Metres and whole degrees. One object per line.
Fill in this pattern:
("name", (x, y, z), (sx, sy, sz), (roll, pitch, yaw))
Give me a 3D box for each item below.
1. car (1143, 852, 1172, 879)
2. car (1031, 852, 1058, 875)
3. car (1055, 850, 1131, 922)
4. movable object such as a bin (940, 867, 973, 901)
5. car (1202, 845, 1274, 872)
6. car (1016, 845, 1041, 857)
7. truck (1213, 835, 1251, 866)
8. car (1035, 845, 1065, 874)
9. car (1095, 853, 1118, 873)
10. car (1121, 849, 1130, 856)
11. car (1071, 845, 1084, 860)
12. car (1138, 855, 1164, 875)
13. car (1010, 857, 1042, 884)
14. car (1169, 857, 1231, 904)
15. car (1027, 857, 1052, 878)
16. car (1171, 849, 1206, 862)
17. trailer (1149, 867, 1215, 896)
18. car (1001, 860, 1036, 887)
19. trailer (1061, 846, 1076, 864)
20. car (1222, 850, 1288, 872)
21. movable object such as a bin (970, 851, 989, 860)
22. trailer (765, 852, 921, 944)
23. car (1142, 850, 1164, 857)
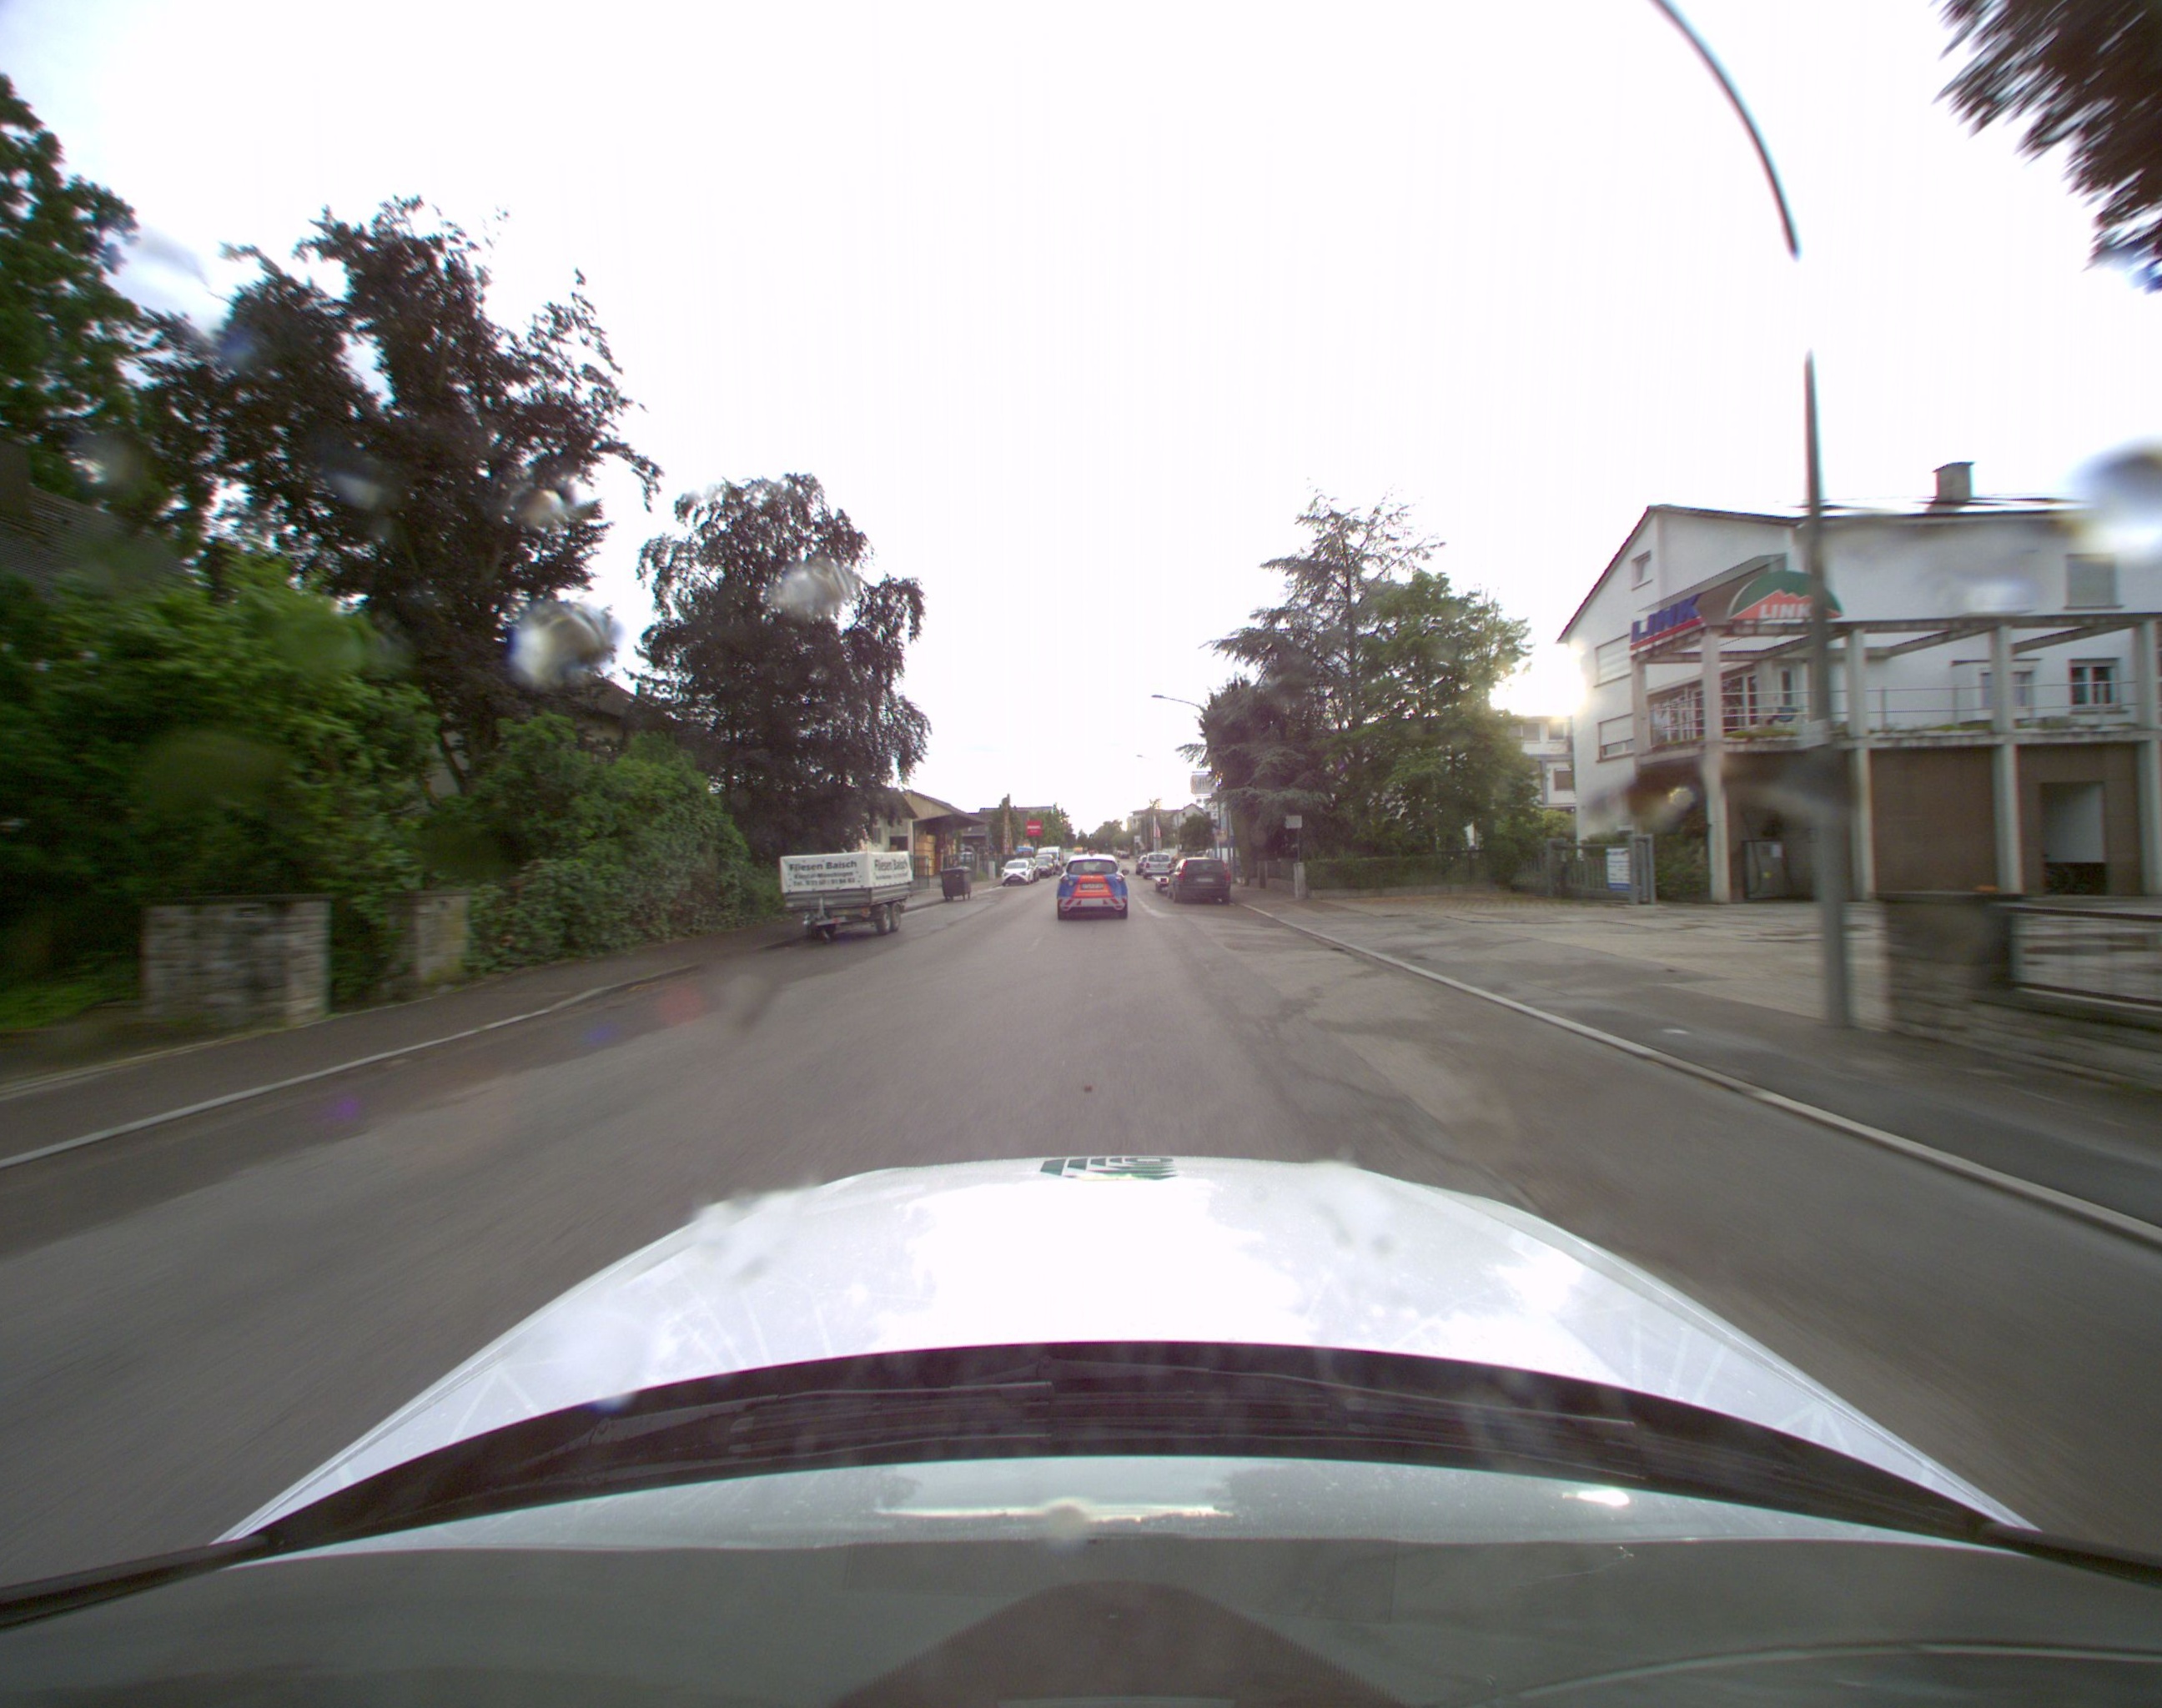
("car", (4.845, 0.716, 51.999), (1.731, 1.621, 4.377), (0, 0, 4))
("car", (-3.087, 0.824, 69.915), (1.763, 1.768, 4.448), (-5, 0, 2))
("car", (0.313, 0.748, 20.817), (1.725, 1.630, 3.495), (-2, 0, 1))
("movable object such as a bin", (-5.003, 1.178, 32.812), (1.097, 1.310, 1.425), (0, 0, 1))
("car", (11.043, 0.312, 57.397), (4.714, 1.886, 2.001), (0, 0, 1))
("car", (-9.247, -0.495, 144.335), (4.290, 2.014, 2.064), (0, 0, 1))
("truck", (18.877, -0.456, 102.036), (4.132, 3.673, 2.719), (2, 0, -1))
("car", (-2.857, 0.478, 75.708), (2.150, 2.427, 6.462), (-4, 0, 2))
("car", (1.898, 0.688, 62.457), (1.644, 1.521, 3.999), (0, 0, 0))
("car", (8.968, -0.271, 165.005), (1.584, 1.341, 4.092), (-2, 0, 0))
("car", (-0.642, -0.267, 143.215), (2.117, 2.537, 6.022), (-2, 0, 0))
("car", (5.262, 0.822, 61.817), (1.732, 1.466, 4.547), (0, 0, 2))
("car", (-3.639, 1.073, 54.318), (1.655, 1.584, 3.917), (-3, 0, 1))
("car", (3.936, 0.841, 27.592), (1.732, 1.433, 4.653), (0, 0, 4))
("car", (-3.208, 1.015, 63.473), (1.656, 1.448, 4.317), (-3, 0, 0))
("car", (12.900, 0.203, 98.167), (3.974, 1.430, 1.630), (-1, 0, 0))
("trailer", (4.068, 1.097, 33.897), (2.165, 0.897, 6.639), (0, 0, 2))
("car", (-3.777, 1.155, 49.390), (1.610, 1.509, 3.662), (-3, 0, 2))
("trailer", (-1.725, 0.138, 113.097), (1.806, 2.314, 4.731), (-4, 0, 1))
("car", (11.702, 0.469, 54.873), (4.088, 1.457, 2.001), (0, 0, 1))
("movable object such as a bin", (-19.068, 0.293, 153.680), (3.416, 1.759, 1.997), (0, 0, -5))
("trailer", (-5.087, 0.861, 18.137), (1.922, 1.765, 4.551), (-1, 0, 2))
("car", (13.059, -0.062, 147.880), (3.970, 1.266, 1.953), (0, 0, 3))
